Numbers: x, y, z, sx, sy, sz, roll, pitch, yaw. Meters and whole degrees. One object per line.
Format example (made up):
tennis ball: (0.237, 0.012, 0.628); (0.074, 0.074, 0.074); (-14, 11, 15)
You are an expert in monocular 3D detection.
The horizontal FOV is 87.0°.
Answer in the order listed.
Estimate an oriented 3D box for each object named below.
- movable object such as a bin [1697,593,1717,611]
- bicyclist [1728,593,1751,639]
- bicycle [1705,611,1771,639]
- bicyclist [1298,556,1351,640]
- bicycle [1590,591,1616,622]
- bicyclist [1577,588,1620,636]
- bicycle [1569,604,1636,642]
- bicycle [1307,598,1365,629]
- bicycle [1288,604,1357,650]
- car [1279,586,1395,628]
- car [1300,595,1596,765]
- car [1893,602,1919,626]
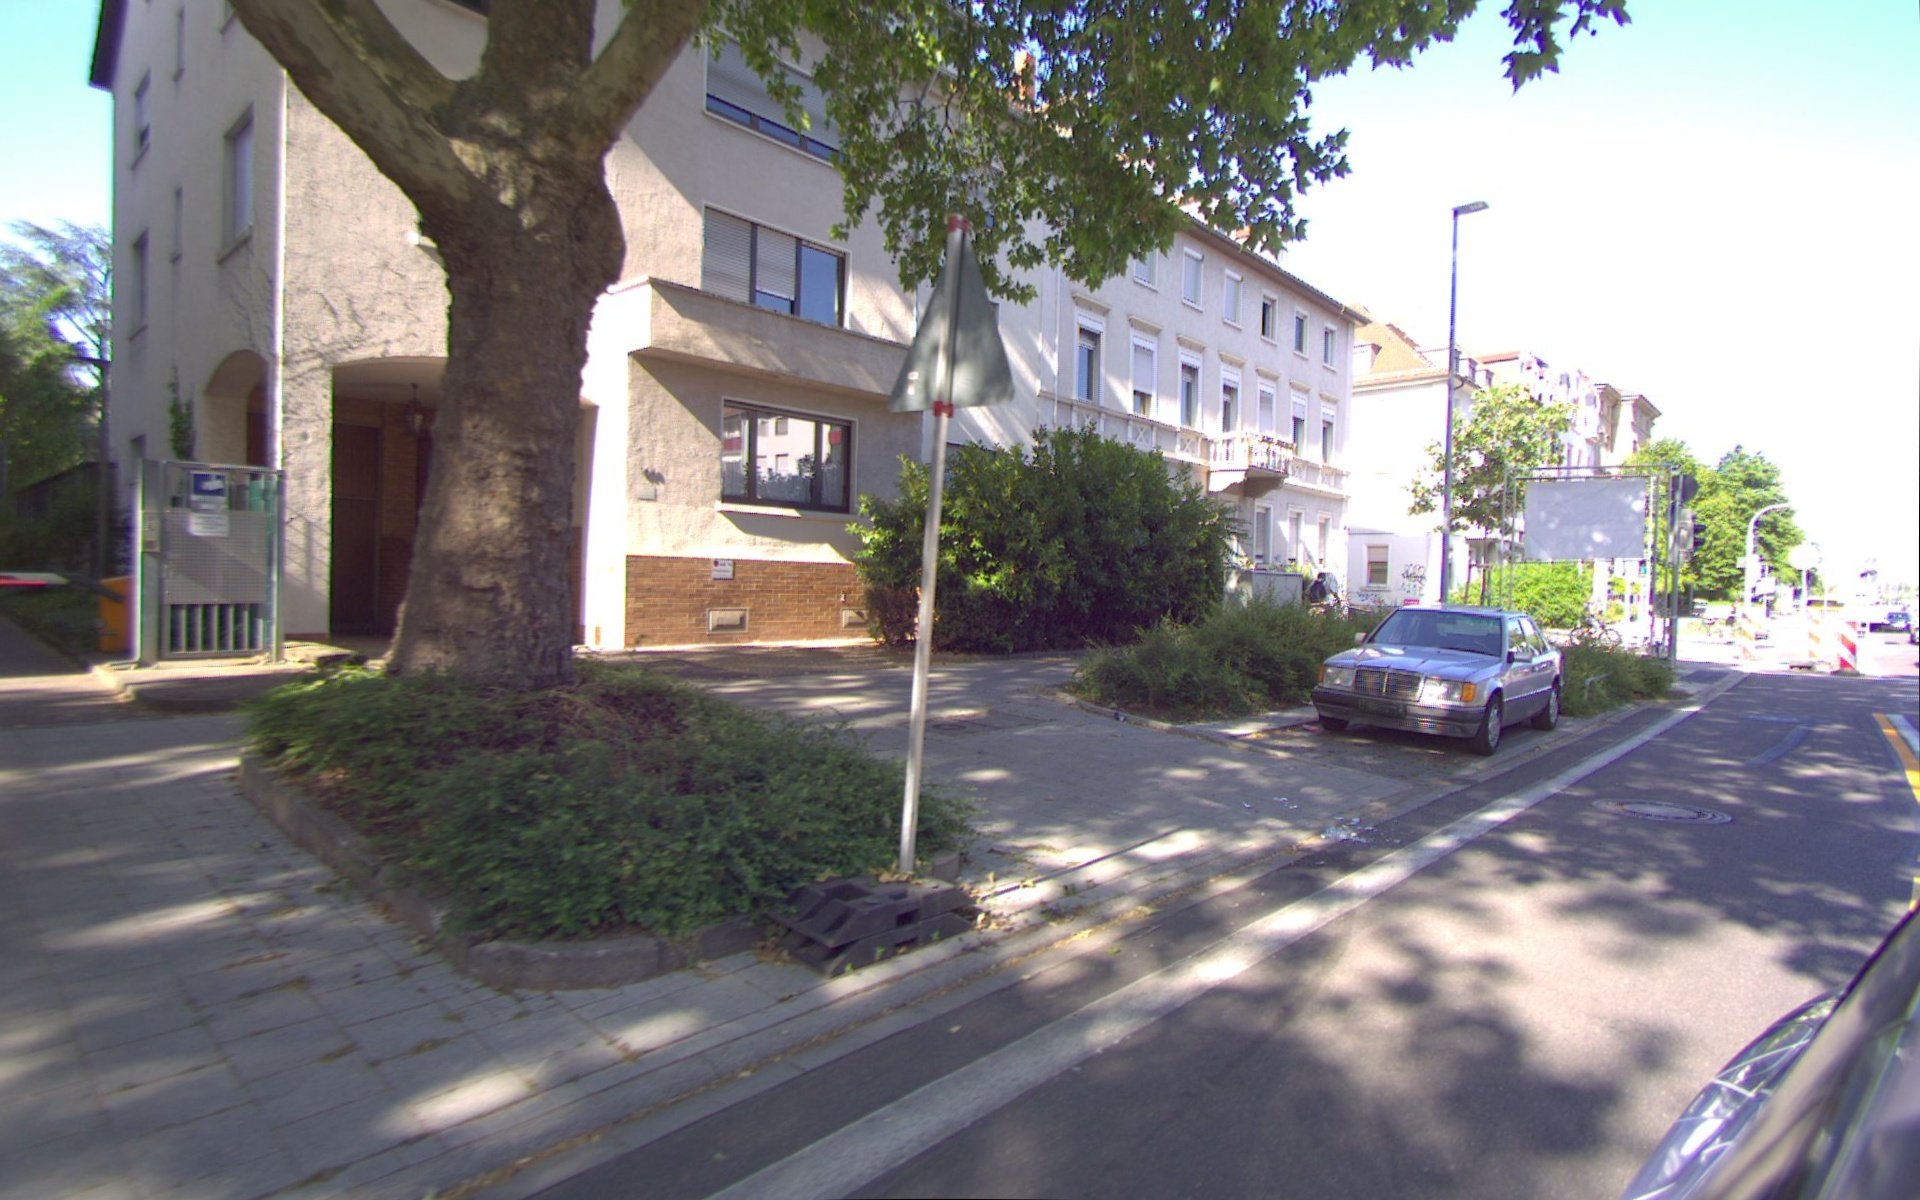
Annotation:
movable object such as a bin: (62.001, 0.126, 83.998); (0.962, 1.415, 1.279); (4, 1, 20)
bicyclist: (29.903, 0.597, 38.810); (0.603, 1.730, 0.845); (2, 1, 43)
bicycle: (29.891, 0.952, 38.888); (1.961, 1.038, 0.595); (0, -1, 43)
bicyclist: (8.193, -0.055, 22.735); (0.724, 1.843, 1.054); (1, 1, 43)
bicycle: (31.178, 0.337, 49.073); (0.707, 1.462, 2.454); (0, -1, 41)
bicyclist: (20.652, 0.377, 32.749); (0.855, 1.518, 0.726); (1, 1, 1)
bicycle: (20.771, 0.729, 32.738); (1.654, 1.112, 0.691); (3, 0, -1)
bicycle: (14.383, 0.504, 38.762); (0.570, 1.094, 1.997); (0, 1, -45)
bicycle: (8.159, 0.584, 22.759); (0.782, 0.978, 1.794); (2, 1, 44)
car: (16.057, 0.258, 43.253); (1.951, 1.639, 4.256); (0, 1, -42)
car: (5.765, 0.713, 11.587); (1.850, 1.498, 4.869); (1, 1, 41)
car: (72.090, 1.074, 76.655); (1.992, 1.794, 3.939); (0, -1, 41)
